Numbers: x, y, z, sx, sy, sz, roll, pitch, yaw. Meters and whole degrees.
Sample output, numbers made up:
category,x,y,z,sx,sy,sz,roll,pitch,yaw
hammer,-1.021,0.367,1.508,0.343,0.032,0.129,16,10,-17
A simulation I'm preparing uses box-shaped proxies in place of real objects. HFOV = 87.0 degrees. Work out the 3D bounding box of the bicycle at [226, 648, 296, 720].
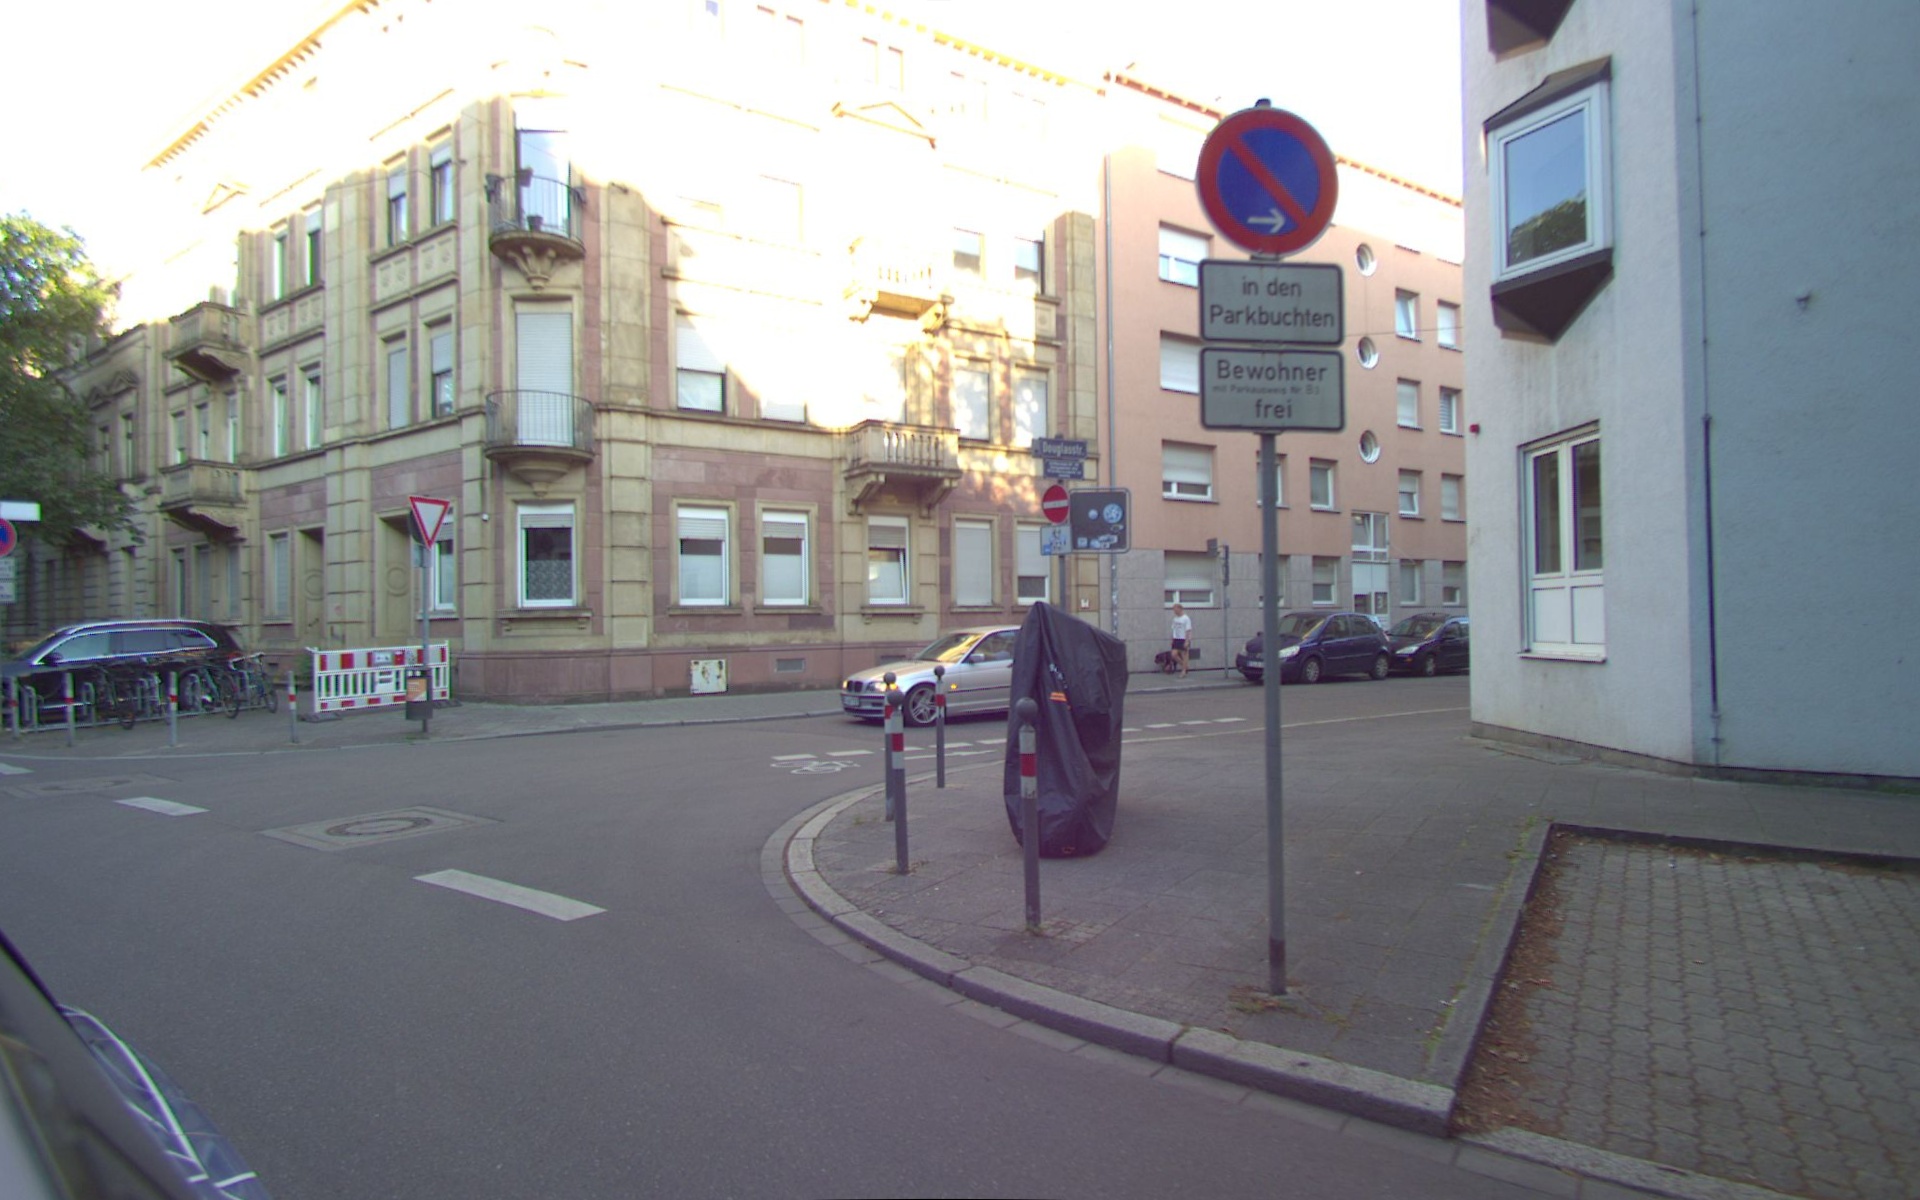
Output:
category,x,y,z,sx,sy,sz,roll,pitch,yaw
bicycle,-11.703,1.377,16.923,1.866,1.097,0.360,-1,0,36

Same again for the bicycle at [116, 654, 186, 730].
category,x,y,z,sx,sy,sz,roll,pitch,yaw
bicycle,-12.740,1.420,15.921,1.866,1.097,0.360,-1,0,36

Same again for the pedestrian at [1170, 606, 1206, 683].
category,x,y,z,sx,sy,sz,roll,pitch,yaw
pedestrian,5.310,1.033,23.602,0.559,1.757,0.552,1,-2,-34

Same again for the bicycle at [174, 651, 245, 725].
category,x,y,z,sx,sy,sz,roll,pitch,yaw
bicycle,-12.151,1.396,16.363,1.866,1.097,0.360,-1,0,36

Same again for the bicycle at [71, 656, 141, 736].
category,x,y,z,sx,sy,sz,roll,pitch,yaw
bicycle,-12.924,1.425,15.291,1.866,1.097,0.360,-1,0,36

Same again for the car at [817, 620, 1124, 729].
category,x,y,z,sx,sy,sz,roll,pitch,yaw
car,0.220,1.059,15.271,4.396,1.414,1.687,0,-4,-33

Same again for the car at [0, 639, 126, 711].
category,x,y,z,sx,sy,sz,roll,pitch,yaw
car,-21.220,1.651,22.073,1.773,1.499,4.392,-3,-2,36

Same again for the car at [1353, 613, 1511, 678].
category,x,y,z,sx,sy,sz,roll,pitch,yaw
car,12.241,1.145,26.174,4.211,1.525,1.699,0,-3,-33

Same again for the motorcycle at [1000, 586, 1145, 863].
category,x,y,z,sx,sy,sz,roll,pitch,yaw
motorcycle,0.831,0.734,6.877,0.663,1.567,2.152,-1,-2,14

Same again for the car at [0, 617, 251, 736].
category,x,y,z,sx,sy,sz,roll,pitch,yaw
car,-15.127,1.249,17.363,1.773,1.751,4.536,-1,0,36

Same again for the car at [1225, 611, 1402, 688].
category,x,y,z,sx,sy,sz,roll,pitch,yaw
car,8.206,1.102,23.409,3.985,1.637,1.700,0,-3,-32
